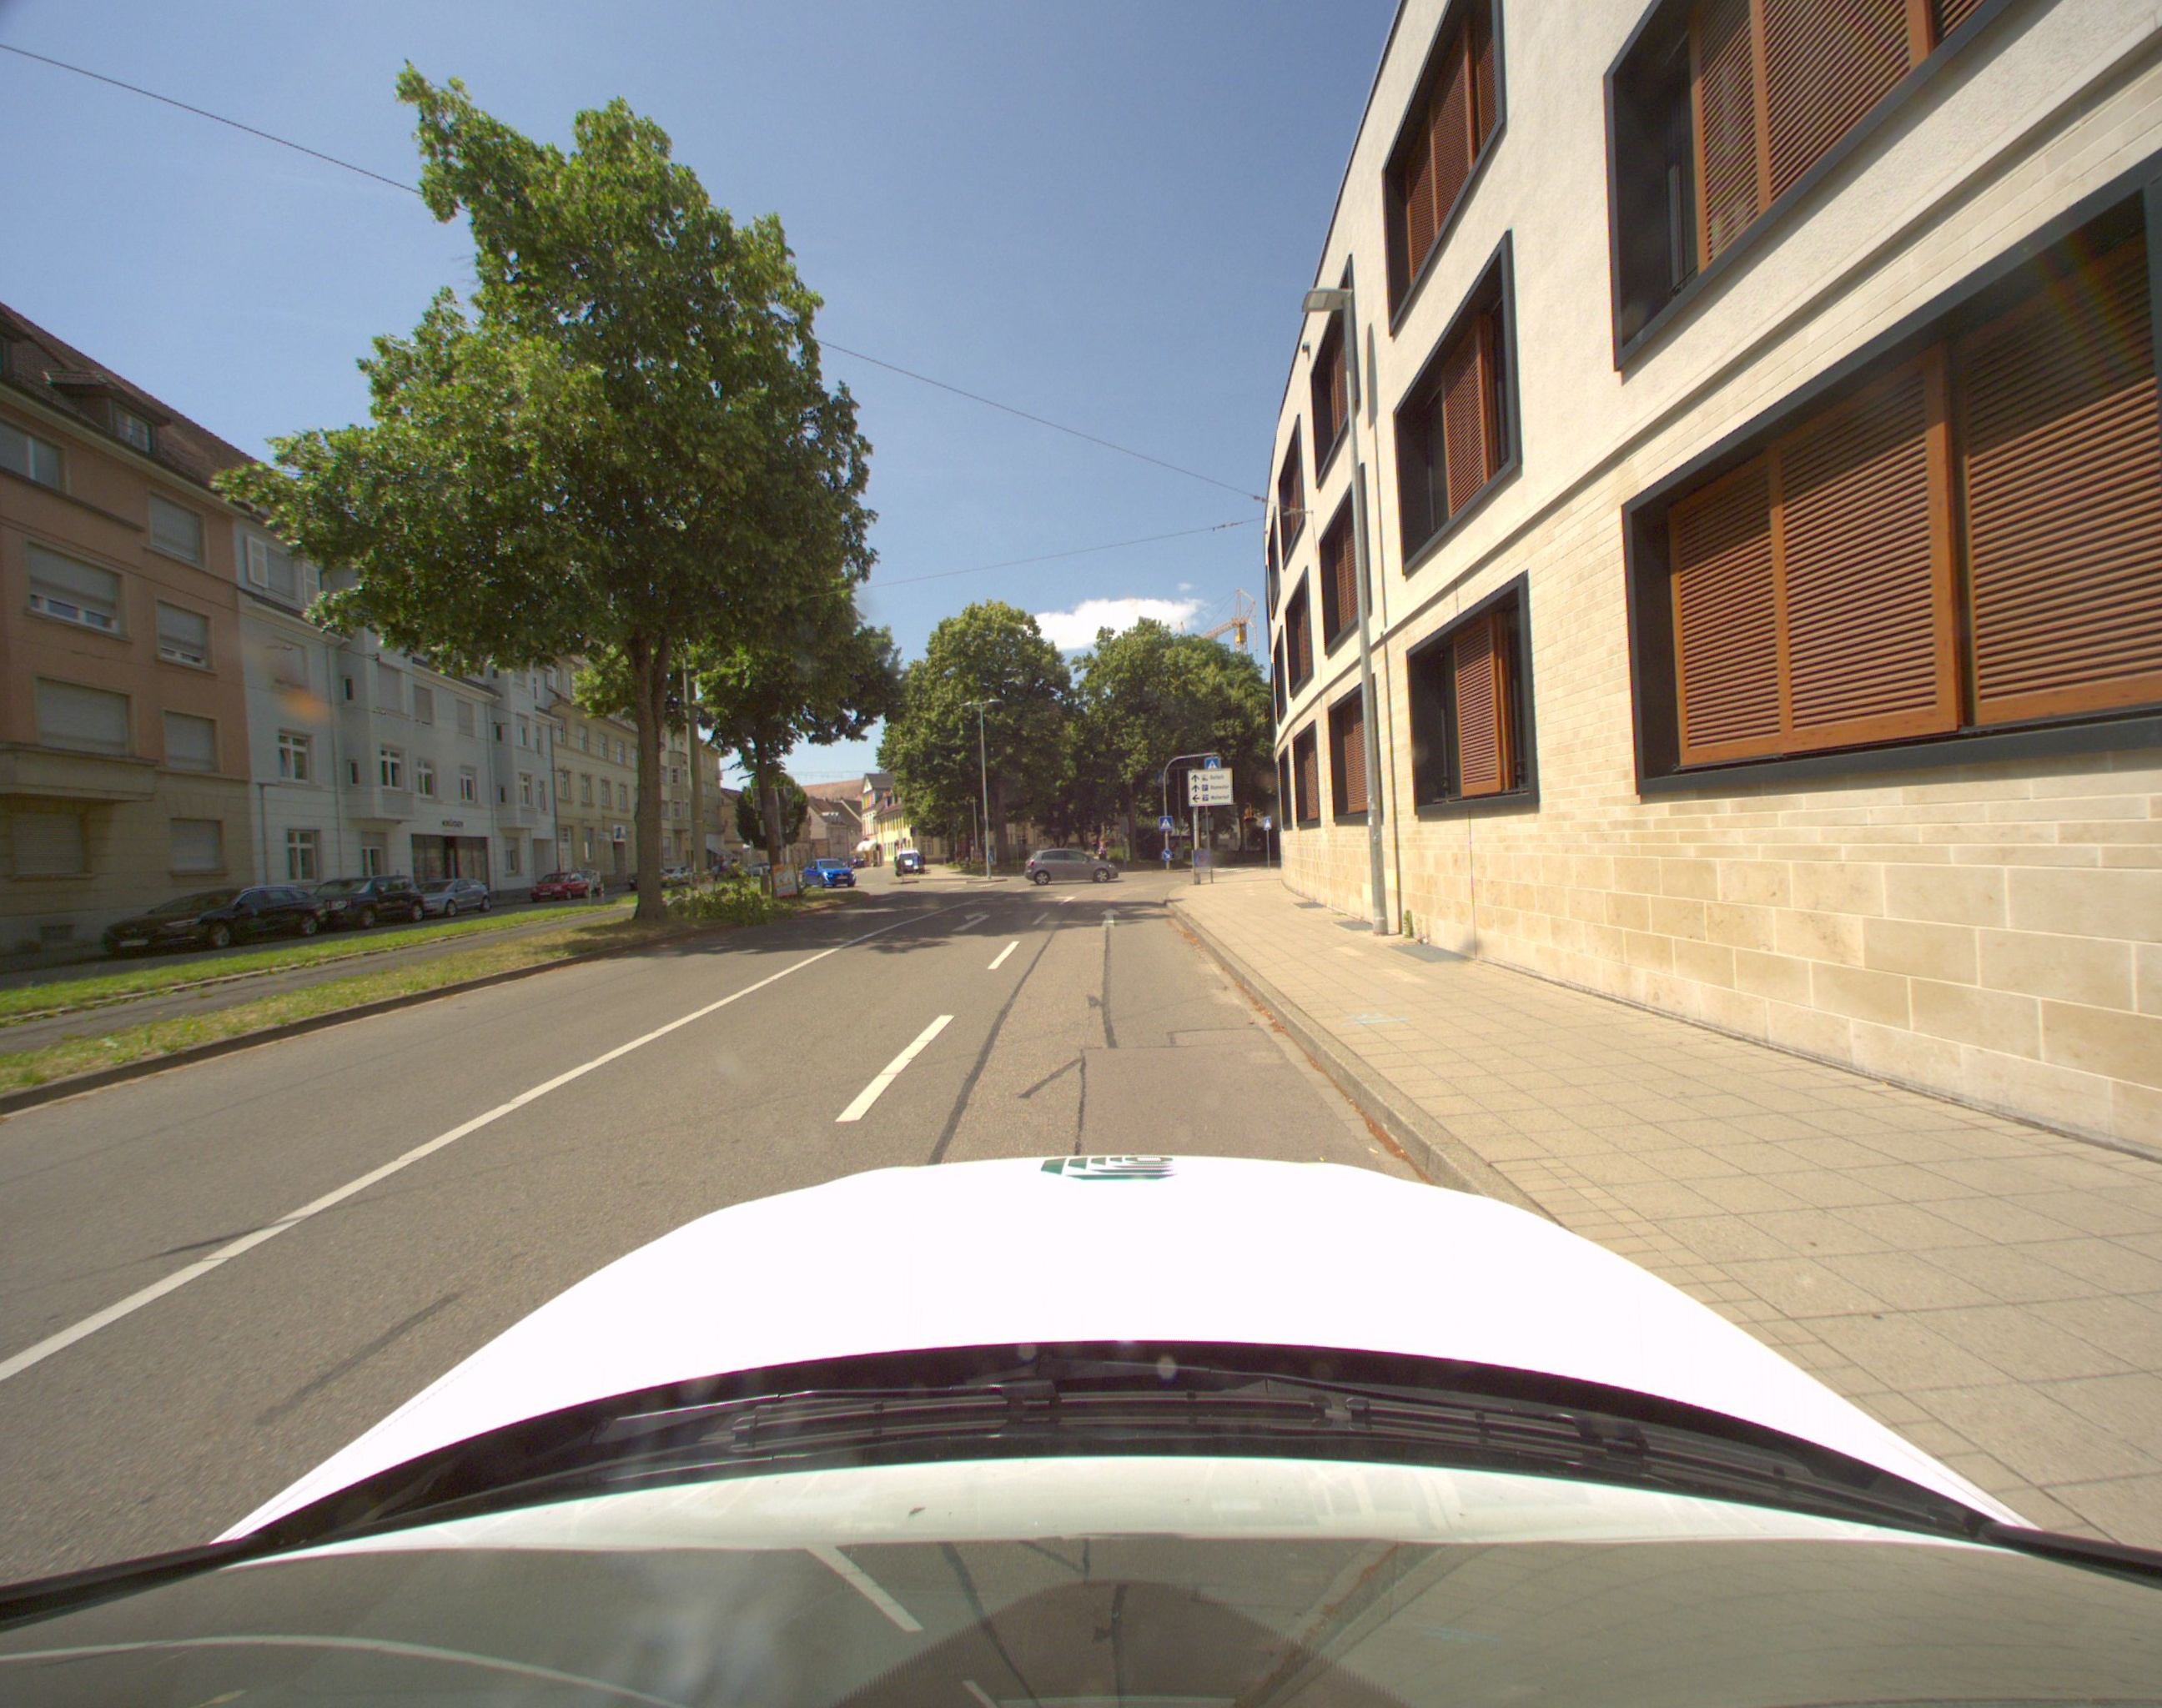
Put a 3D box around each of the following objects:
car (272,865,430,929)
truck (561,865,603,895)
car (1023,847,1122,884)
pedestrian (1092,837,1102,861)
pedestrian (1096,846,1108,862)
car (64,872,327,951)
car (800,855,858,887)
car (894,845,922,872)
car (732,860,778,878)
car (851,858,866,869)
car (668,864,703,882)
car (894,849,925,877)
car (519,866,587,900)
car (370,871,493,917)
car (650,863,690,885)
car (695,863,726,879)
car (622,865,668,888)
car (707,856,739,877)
[{"bbox_3d":[-22.878,1.267,25.757,1.838,1.685,4.124,-4,1,-13],"label":"car"},{"bbox_3d":[-27.309,1.404,44.627,1.127,1.494,2.582,-4,1,-14],"label":"truck"},{"bbox_3d":[-0.434,0.499,36.103,4.224,1.534,1.905,-1,0,-7],"label":"car"},{"bbox_3d":[1.298,-0.397,67.036,0.745,1.910,0.685,-2,1,2],"label":"pedestrian"},{"bbox_3d":[1.730,-0.040,66.222,0.902,1.252,1.149,-2,2,3],"label":"pedestrian"},{"bbox_3d":[-21.709,1.315,20.354,1.930,1.490,4.842,-4,1,-13],"label":"car"},{"bbox_3d":[-12.893,0.835,41.509,1.822,1.492,3.959,-2,1,-33],"label":"car"},{"bbox_3d":[-13.842,0.341,65.451,2.050,2.002,5.228,-2,0,-11],"label":"car"},{"bbox_3d":[-34.067,1.537,85.177,4.213,1.505,1.992,-4,1,-17],"label":"car"},{"bbox_3d":[-32.601,1.355,119.381,1.866,1.486,3.974,-2,0,-19],"label":"car"},{"bbox_3d":[-31.738,1.490,65.432,1.688,1.277,3.274,-4,1,-13],"label":"car"},{"bbox_3d":[-11.972,0.602,56.798,1.996,1.826,4.403,-2,0,-13],"label":"car"},{"bbox_3d":[-26.173,1.405,40.515,1.573,1.451,3.610,-4,1,-13],"label":"car"},{"bbox_3d":[-23.980,1.432,30.285,1.809,1.356,4.231,-4,1,-13],"label":"car"},{"bbox_3d":[-30.582,1.465,60.726,1.688,1.390,3.841,-4,1,-13],"label":"car"},{"bbox_3d":[-33.708,1.527,74.195,1.643,1.277,4.245,-4,1,-13],"label":"car"},{"bbox_3d":[-29.485,1.486,55.178,1.688,1.360,3.841,-4,1,-13],"label":"car"},{"bbox_3d":[-34.715,1.192,79.117,1.855,1.911,4.750,-4,1,-13],"label":"car"}]
